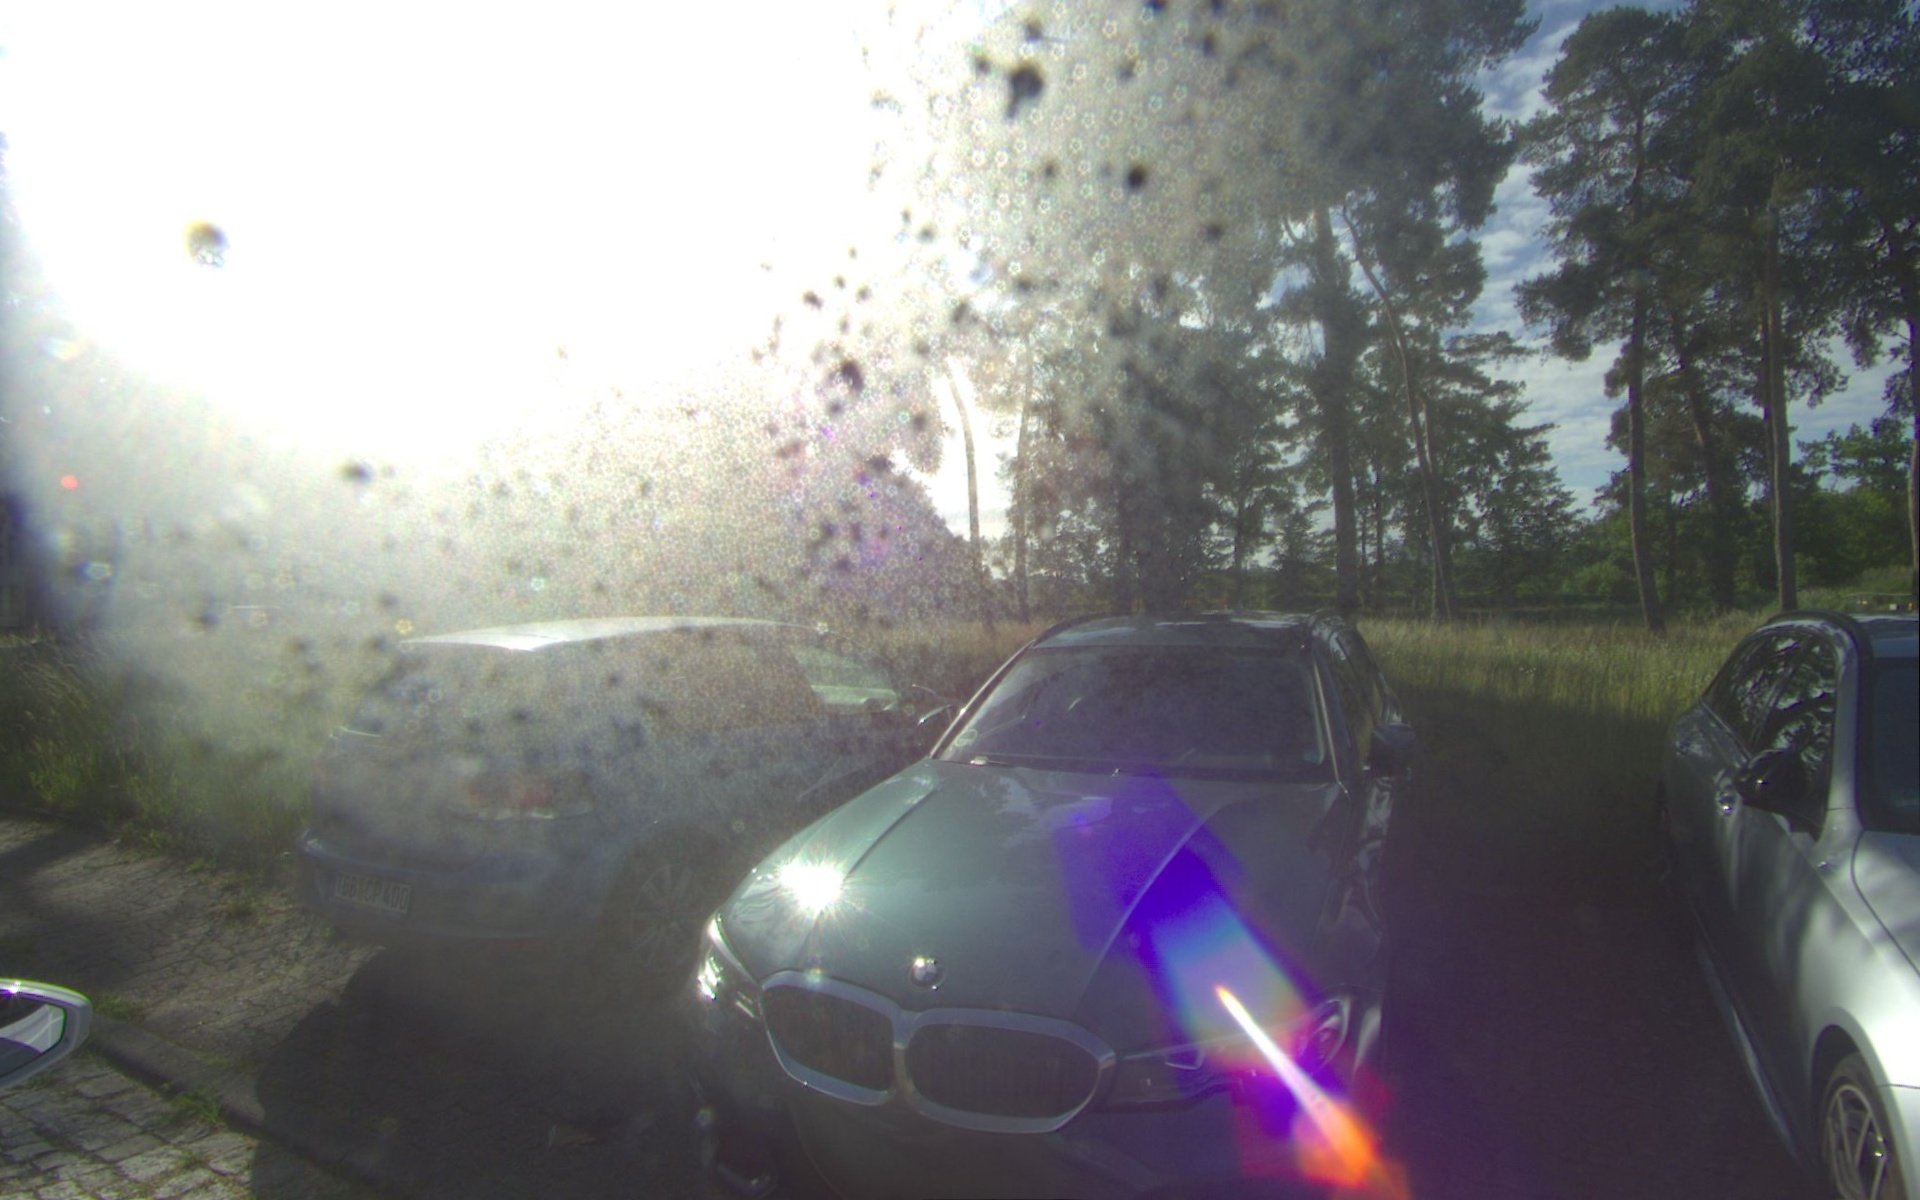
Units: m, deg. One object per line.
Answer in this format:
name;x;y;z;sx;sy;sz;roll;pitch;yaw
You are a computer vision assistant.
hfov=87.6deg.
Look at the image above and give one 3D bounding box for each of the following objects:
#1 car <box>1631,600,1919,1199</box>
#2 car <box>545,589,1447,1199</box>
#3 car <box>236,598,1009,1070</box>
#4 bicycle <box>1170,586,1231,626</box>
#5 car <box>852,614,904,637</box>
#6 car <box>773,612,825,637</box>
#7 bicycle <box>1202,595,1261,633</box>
car;3.085;0.742;2.632;1.761;1.407;4.394;-1;1;28
car;0.889;0.759;4.037;1.840;1.475;4.614;-1;2;27
car;-1.299;0.767;5.244;1.640;1.462;3.667;-1;1;29
bicycle;13.190;0.342;54.990;3.084;2.039;0.949;-3;-1;29
car;-5.507;1.712;67.660;1.741;1.517;3.629;-1;-1;32
car;-11.569;1.750;72.006;1.741;1.693;3.629;-1;-1;32
bicycle;15.529;0.833;57.274;3.086;2.039;0.949;-3;-1;32
